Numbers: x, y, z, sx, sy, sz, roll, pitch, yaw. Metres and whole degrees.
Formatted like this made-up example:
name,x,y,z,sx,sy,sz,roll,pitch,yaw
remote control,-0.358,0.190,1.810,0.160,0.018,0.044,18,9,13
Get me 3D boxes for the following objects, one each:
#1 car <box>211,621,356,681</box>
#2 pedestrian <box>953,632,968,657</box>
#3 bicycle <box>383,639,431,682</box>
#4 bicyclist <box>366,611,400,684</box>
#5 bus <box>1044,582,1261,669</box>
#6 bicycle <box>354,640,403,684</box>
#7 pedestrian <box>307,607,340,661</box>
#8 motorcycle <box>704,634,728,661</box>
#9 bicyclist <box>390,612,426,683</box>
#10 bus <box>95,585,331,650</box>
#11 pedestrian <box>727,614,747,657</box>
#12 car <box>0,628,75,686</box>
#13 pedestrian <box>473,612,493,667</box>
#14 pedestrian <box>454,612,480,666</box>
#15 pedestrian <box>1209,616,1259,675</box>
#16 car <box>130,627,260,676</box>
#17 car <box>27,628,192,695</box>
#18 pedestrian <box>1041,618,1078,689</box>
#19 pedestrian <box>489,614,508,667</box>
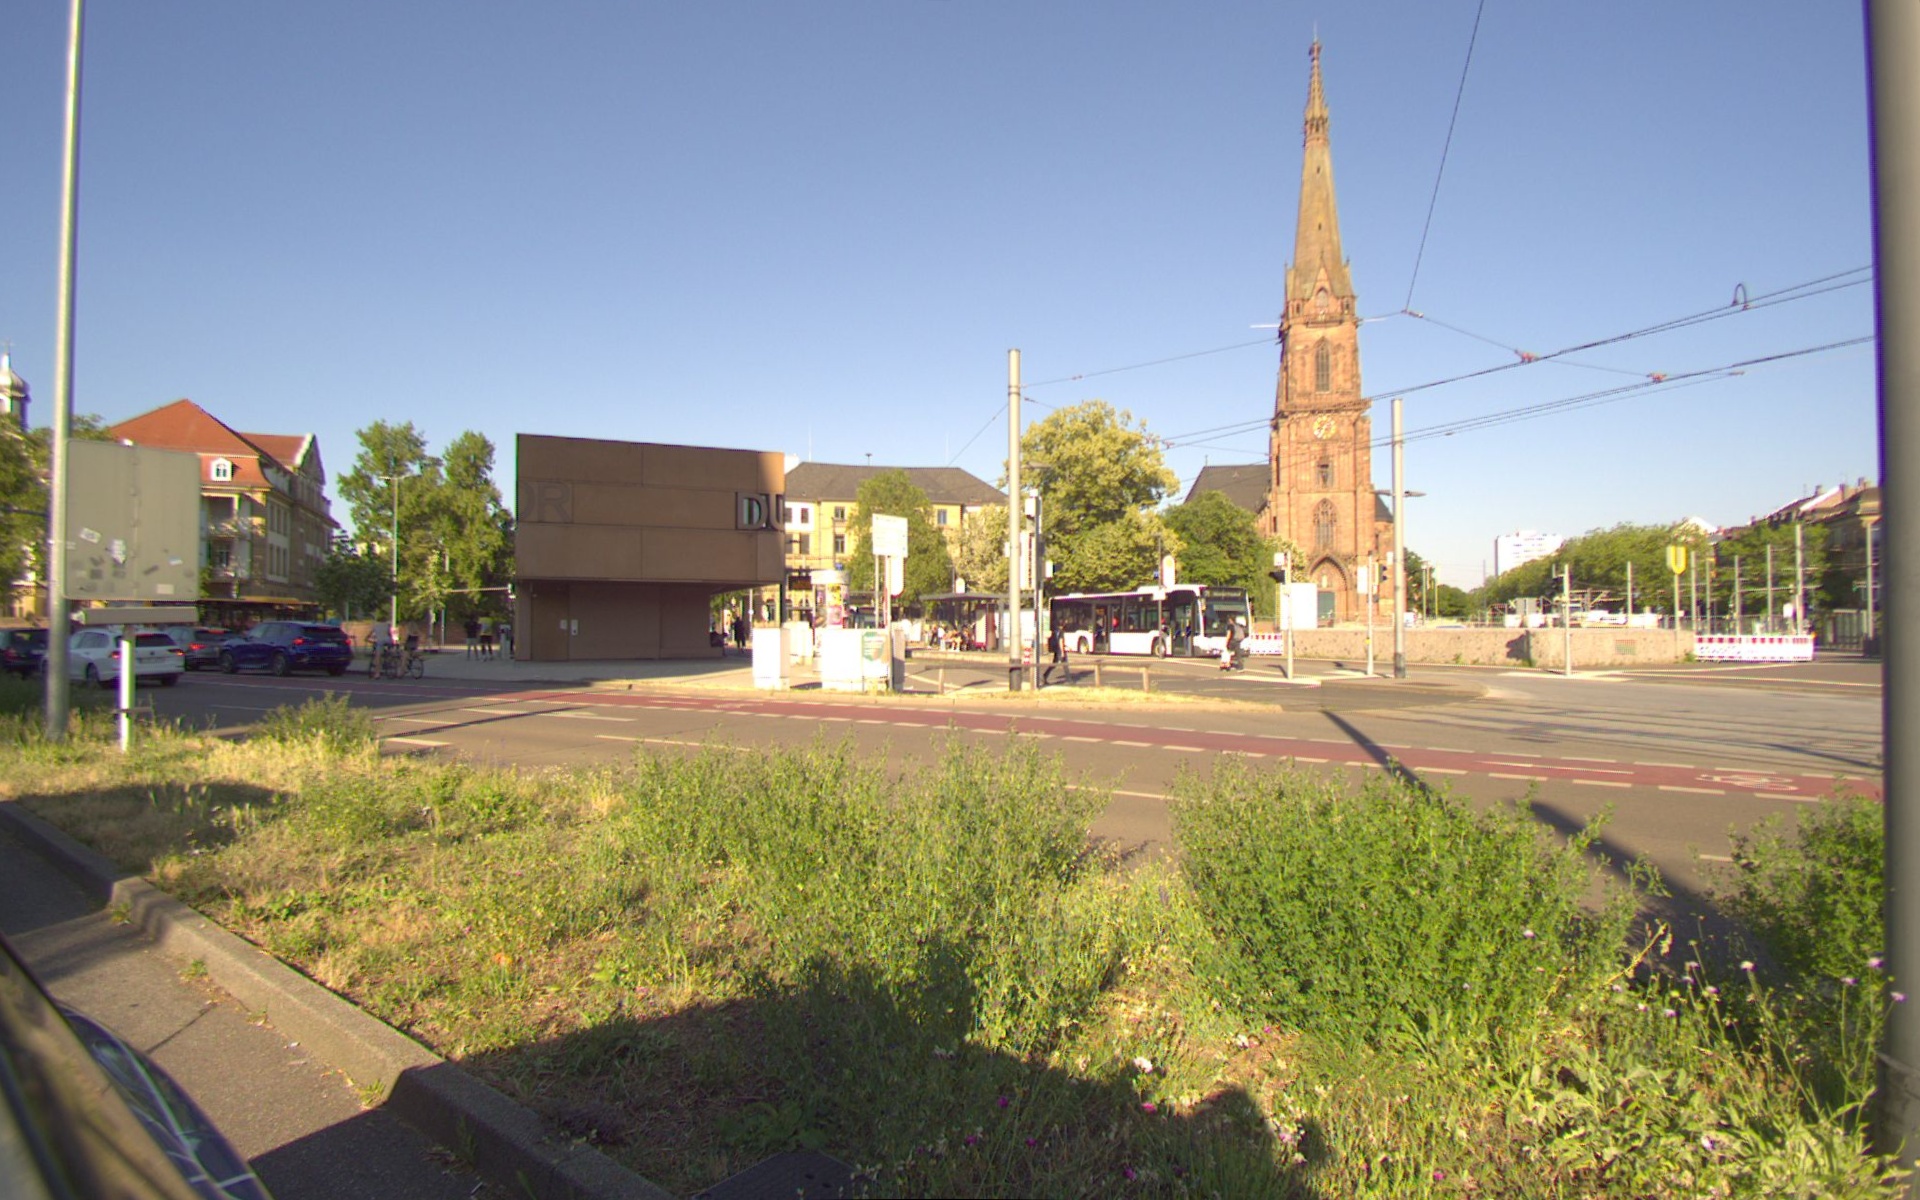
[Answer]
name,x,y,z,sx,sy,sz,roll,pitch,yaw
car,-20.143,1.468,30.100,4.166,1.703,1.741,-1,-1,26
pedestrian,0.037,2.192,49.958,0.531,1.196,0.660,-1,0,-21
bicycle,-15.959,1.737,29.191,1.388,1.201,0.461,-1,0,24
bicyclist,-16.269,1.325,28.527,0.562,2.029,0.605,-1,-2,25
bus,7.683,0.967,43.249,2.655,3.174,12.216,-1,0,-23
bicycle,-16.423,1.743,28.579,1.388,1.201,0.461,-1,0,24
pedestrian,-22.751,1.228,36.183,0.787,1.911,0.612,0,-2,-9
motorcycle,-10.147,1.956,42.050,0.935,1.075,0.331,-1,0,-11
bicyclist,-15.898,1.361,29.154,0.705,2.029,0.605,-1,-2,25
bus,-41.284,0.870,56.912,3.049,3.236,12.521,-1,0,6
pedestrian,-10.754,1.712,48.816,0.762,2.029,0.778,-1,0,-2
car,-26.911,1.558,28.501,4.171,1.471,1.739,-1,0,30
pedestrian,-17.720,1.465,37.600,0.645,2.029,0.470,-1,0,-29
pedestrian,-18.758,1.467,38.495,0.765,2.029,0.775,-1,0,-37
pedestrian,8.288,1.359,30.654,1.025,1.696,1.007,-1,0,-25
car,-25.040,1.653,33.100,4.375,1.503,1.831,-1,-4,30
car,-21.480,1.495,25.529,4.375,1.503,1.831,-1,0,30
pedestrian,2.535,1.352,25.871,0.702,1.771,0.584,-1,0,-30
pedestrian,-18.067,1.579,39.612,0.645,2.029,0.470,-1,0,-29
